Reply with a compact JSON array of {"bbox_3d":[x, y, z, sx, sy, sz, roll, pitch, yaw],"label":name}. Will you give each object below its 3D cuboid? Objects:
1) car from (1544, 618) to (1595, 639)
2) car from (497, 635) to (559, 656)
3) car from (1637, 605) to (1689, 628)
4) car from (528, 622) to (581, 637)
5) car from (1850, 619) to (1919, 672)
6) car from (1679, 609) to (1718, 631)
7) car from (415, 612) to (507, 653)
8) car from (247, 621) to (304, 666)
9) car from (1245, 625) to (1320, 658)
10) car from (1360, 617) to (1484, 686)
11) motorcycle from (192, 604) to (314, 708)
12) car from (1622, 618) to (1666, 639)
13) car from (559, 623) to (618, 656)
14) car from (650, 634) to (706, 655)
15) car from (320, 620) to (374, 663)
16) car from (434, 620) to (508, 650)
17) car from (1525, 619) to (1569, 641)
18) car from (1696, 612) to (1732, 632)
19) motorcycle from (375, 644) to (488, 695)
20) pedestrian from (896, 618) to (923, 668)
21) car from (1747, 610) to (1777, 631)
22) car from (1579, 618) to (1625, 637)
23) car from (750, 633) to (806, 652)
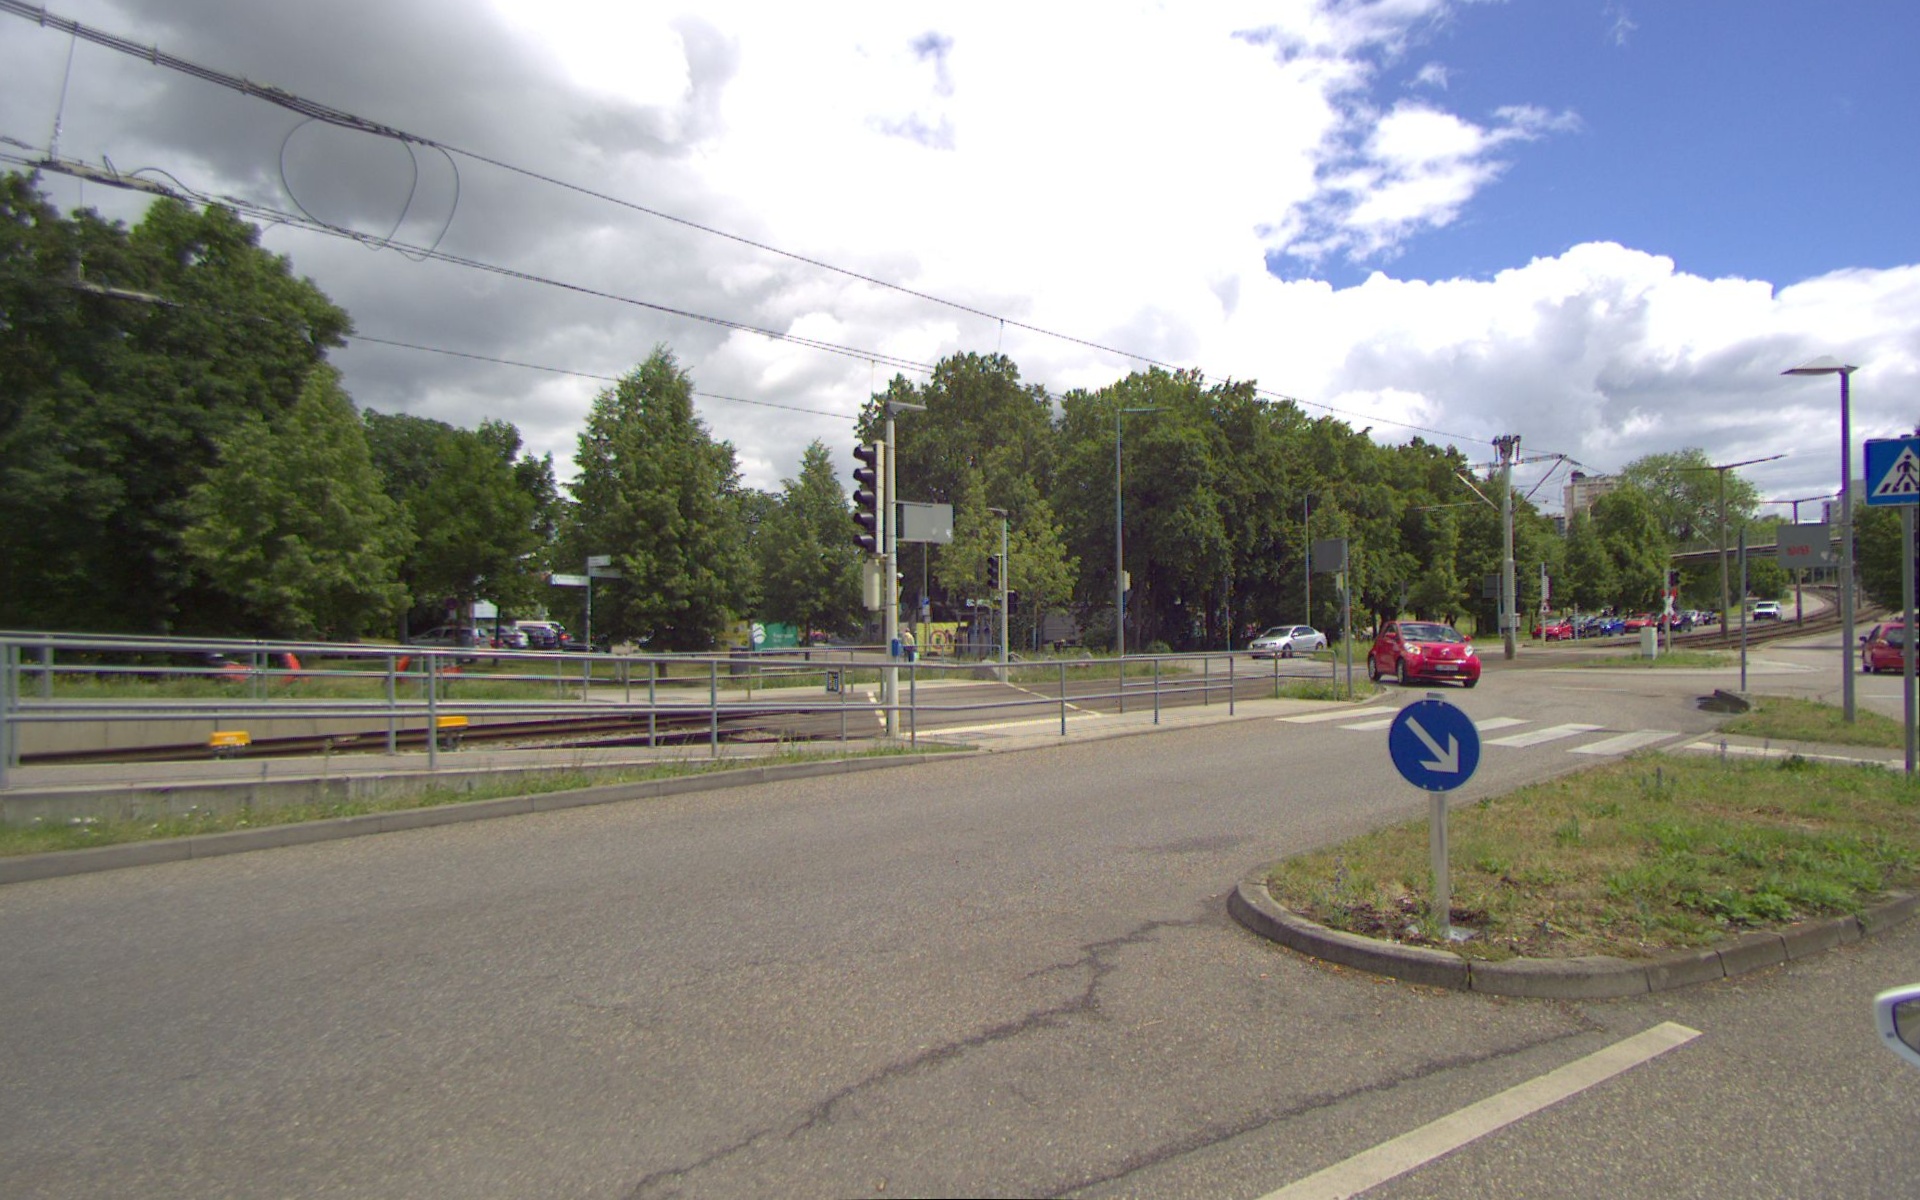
[{"bbox_3d":[42.392,1.971,69.857,3.498,1.444,1.866,1,-2,-37],"label":"car"},{"bbox_3d":[-28.314,2.963,65.883,3.429,1.270,1.602,-1,-1,-8],"label":"car"},{"bbox_3d":[52.496,1.252,74.993,4.380,1.618,1.979,1,-2,-38],"label":"car"},{"bbox_3d":[-30.553,2.220,75.772,3.385,1.034,1.631,-1,-1,-6],"label":"car"},{"bbox_3d":[27.151,1.313,29.049,1.743,1.451,3.467,-2,-3,36],"label":"car"},{"bbox_3d":[69.810,1.901,94.951,3.964,2.040,1.978,0,-1,-38],"label":"car"},{"bbox_3d":[-26.308,1.678,53.067,3.926,2.040,1.997,-1,-1,-8],"label":"car"},{"bbox_3d":[-30.183,1.865,44.320,1.979,1.859,3.962,0,-1,-34],"label":"car"},{"bbox_3d":[14.585,1.841,45.284,1.856,1.368,3.811,-2,-2,41],"label":"car"},{"bbox_3d":[10.887,1.184,23.851,1.690,1.523,2.968,0,-1,3],"label":"car"},{"bbox_3d":[-14.535,1.130,20.725,1.958,2.040,0.830,1,-2,-29],"label":"motorcycle"},{"bbox_3d":[54.311,2.267,79.791,3.967,1.582,1.897,1,-2,-40],"label":"car"},{"bbox_3d":[-19.803,2.075,53.679,1.962,1.660,4.136,-1,-1,-6],"label":"car"},{"bbox_3d":[-16.462,2.592,58.773,3.050,1.096,1.413,-1,-1,-11],"label":"car"},{"bbox_3d":[-28.436,1.869,46.554,1.979,1.859,3.962,0,-1,-34],"label":"car"},{"bbox_3d":[-27.423,1.939,56.374,3.416,1.587,1.490,-1,-1,-9],"label":"car"},{"bbox_3d":[38.482,1.974,65.853,3.571,1.388,1.514,1,-2,-43],"label":"car"},{"bbox_3d":[73.647,2.153,98.116,3.967,1.888,1.977,0,-1,-40],"label":"car"},{"bbox_3d":[-11.986,1.552,22.806,2.193,1.095,0.724,1,-2,-36],"label":"motorcycle"},{"bbox_3d":[-2.076,1.760,41.490,0.810,2.040,0.958,-1,0,-24],"label":"pedestrian"},{"bbox_3d":[81.126,2.067,101.632,1.973,2.040,3.975,-2,-2,44],"label":"car"},{"bbox_3d":[46.616,1.994,72.942,3.538,1.271,1.791,0,-1,-40],"label":"car"},{"bbox_3d":[-13.188,3.060,72.820,3.928,1.243,2.047,-1,-1,-10],"label":"car"}]
